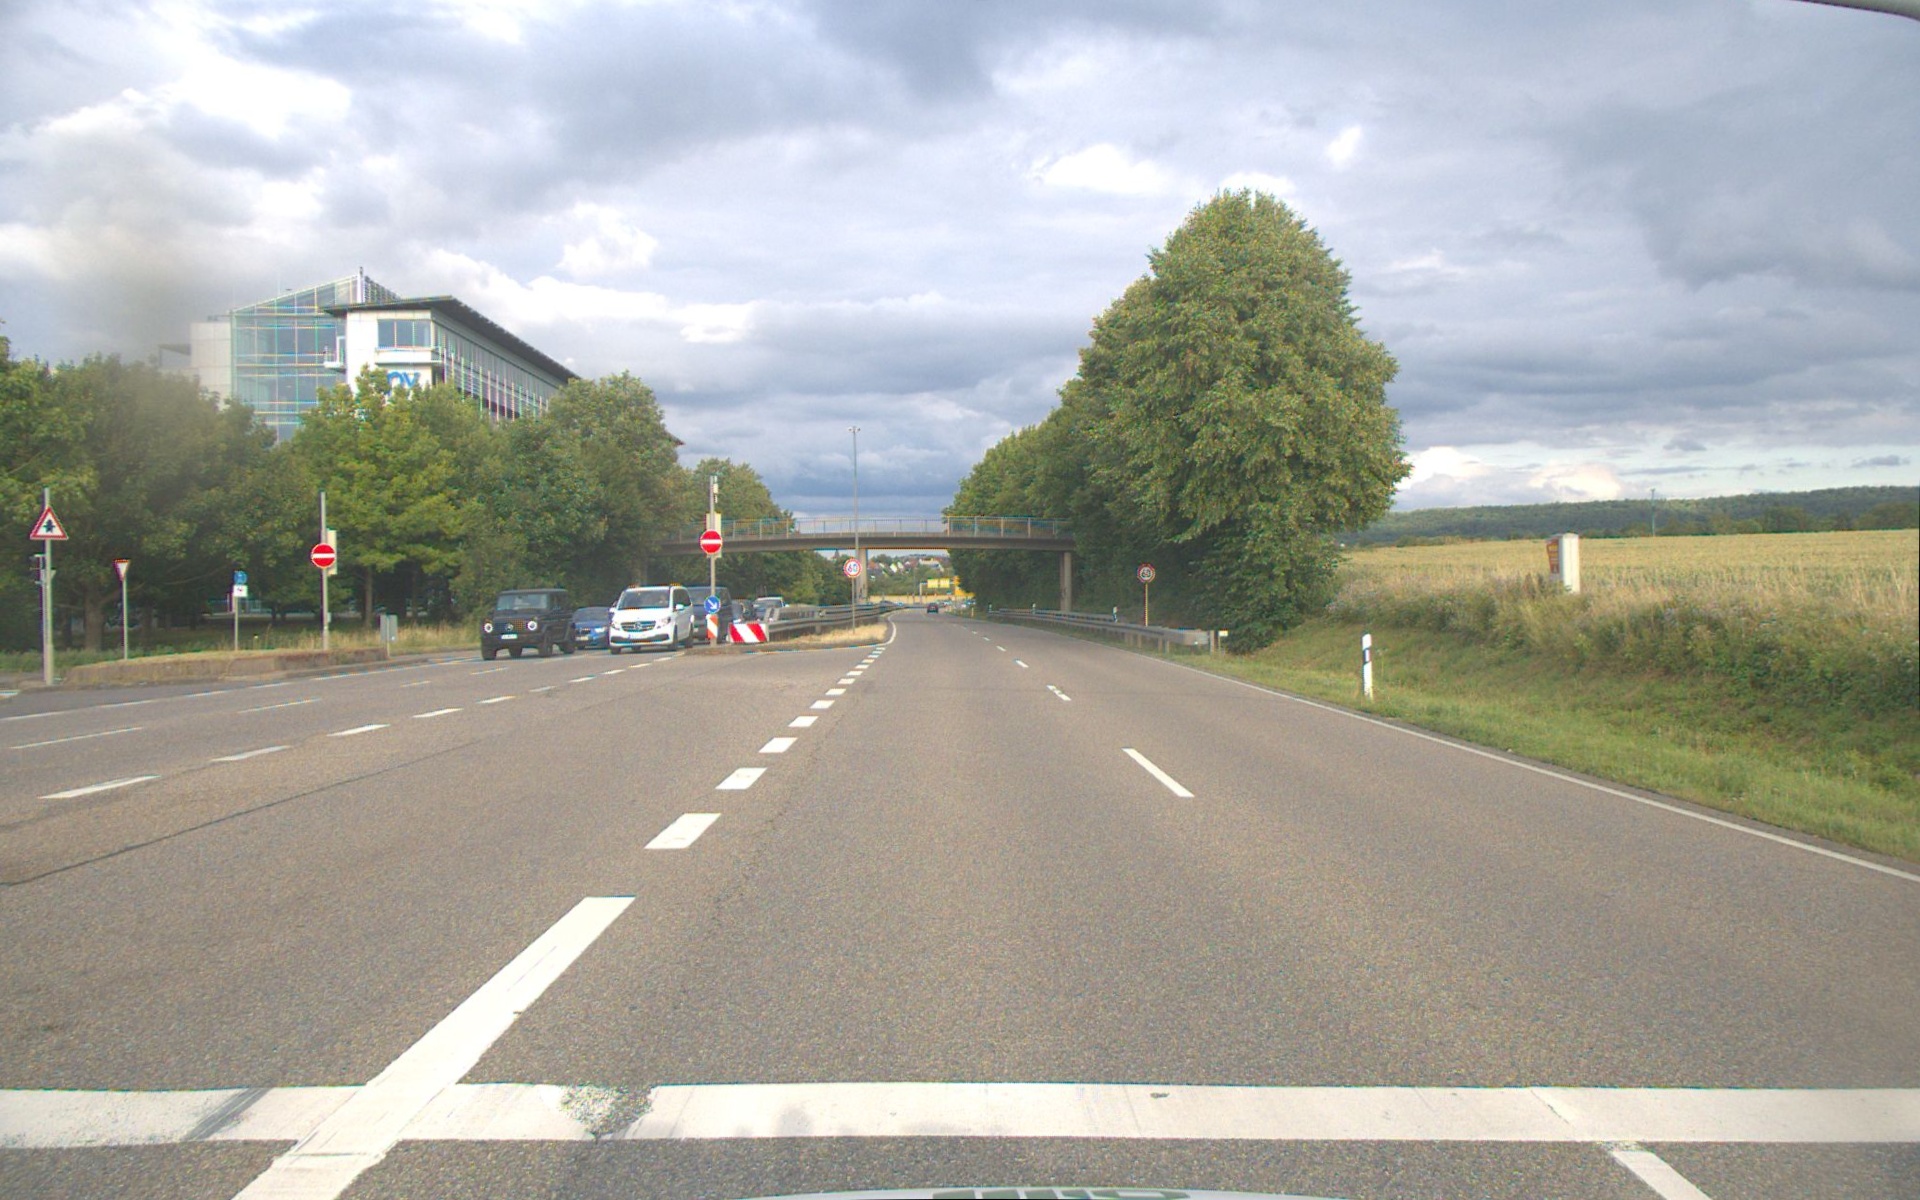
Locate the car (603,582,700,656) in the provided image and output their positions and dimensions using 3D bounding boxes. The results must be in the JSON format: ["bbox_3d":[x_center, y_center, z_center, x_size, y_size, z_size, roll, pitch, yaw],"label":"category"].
[{"bbox_3d":[-9.105,0.543,49.204,2.041,2.049,5.214,1,0,-2],"label":"car"}]

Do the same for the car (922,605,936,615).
[{"bbox_3d":[-4.757,1.556,255.546,1.843,1.579,3.995,1,0,-6],"label":"car"}]

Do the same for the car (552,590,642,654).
[{"bbox_3d":[-12.328,0.728,56.543,2.041,2.049,5.214,1,0,-2],"label":"car"}]

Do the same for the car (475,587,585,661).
[{"bbox_3d":[-12.664,0.682,49.038,2.041,2.049,5.214,1,0,-2],"label":"car"}]

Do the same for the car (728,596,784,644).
[{"bbox_3d":[-9.248,0.892,75.480,2.041,2.049,5.214,1,0,-2],"label":"car"}]

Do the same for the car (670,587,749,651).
[{"bbox_3d":[-8.564,0.639,56.947,2.041,2.049,5.214,1,0,-2],"label":"car"}]

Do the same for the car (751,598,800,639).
[{"bbox_3d":[-9.478,0.939,85.370,2.041,2.049,5.214,1,0,-2],"label":"car"}]
